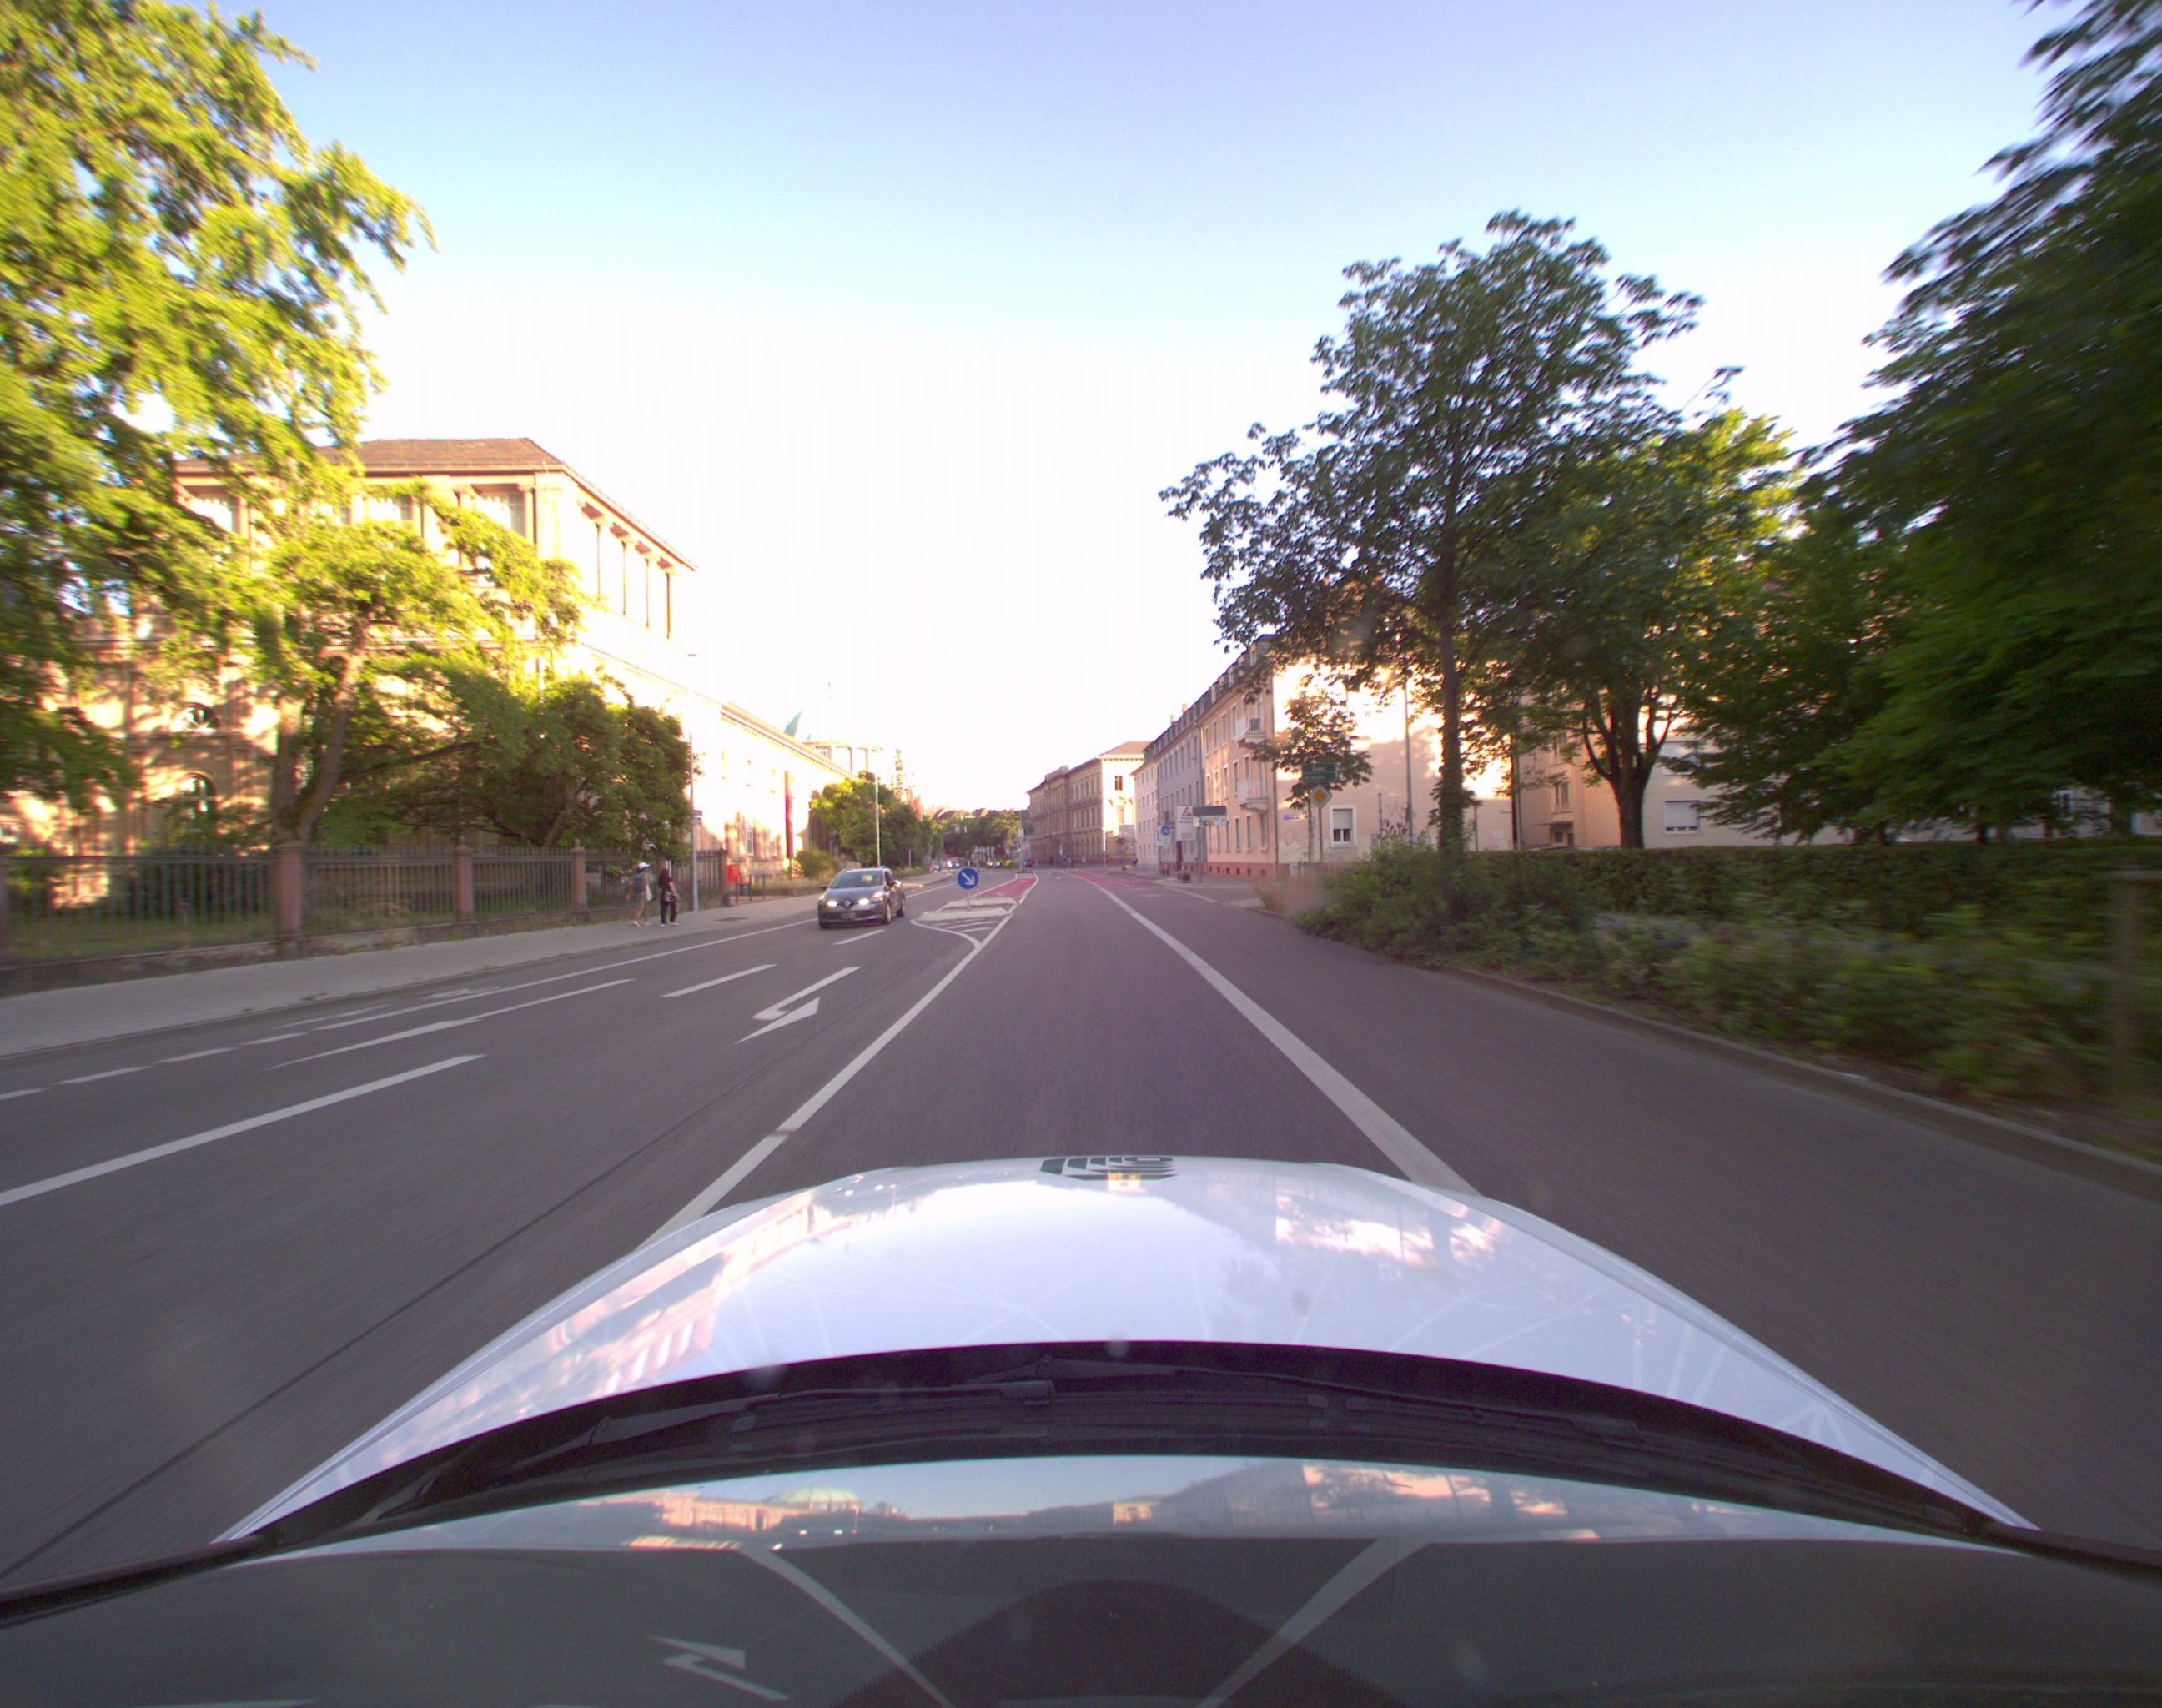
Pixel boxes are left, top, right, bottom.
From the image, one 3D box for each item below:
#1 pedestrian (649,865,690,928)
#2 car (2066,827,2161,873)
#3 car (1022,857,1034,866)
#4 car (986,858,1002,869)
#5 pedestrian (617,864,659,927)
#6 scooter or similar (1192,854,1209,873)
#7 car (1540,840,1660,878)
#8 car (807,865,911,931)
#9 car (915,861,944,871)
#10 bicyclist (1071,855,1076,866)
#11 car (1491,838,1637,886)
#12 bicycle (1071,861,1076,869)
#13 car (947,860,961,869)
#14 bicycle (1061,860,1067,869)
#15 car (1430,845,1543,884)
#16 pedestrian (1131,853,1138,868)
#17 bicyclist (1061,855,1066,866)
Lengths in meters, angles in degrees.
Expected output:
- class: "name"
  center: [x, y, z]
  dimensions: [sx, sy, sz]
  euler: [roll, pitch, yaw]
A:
- class: "pedestrian"
  center: [-11.025, 1.129, 21.820]
  dimensions: [0.677, 1.622, 0.690]
  euler: [-1, 0, 7]
- class: "car"
  center: [39.256, -0.203, 29.700]
  dimensions: [4.224, 1.481, 1.872]
  euler: [-3, 0, 2]
- class: "car"
  center: [-9.201, 1.270, 140.278]
  dimensions: [1.865, 1.510, 3.991]
  euler: [0, 0, -6]
- class: "car"
  center: [-13.691, 1.487, 128.146]
  dimensions: [1.996, 1.585, 3.981]
  euler: [-1, 0, -13]
- class: "pedestrian"
  center: [-11.799, 1.095, 21.697]
  dimensions: [0.677, 1.622, 0.690]
  euler: [-1, 0, 7]
- class: "scooter or similar"
  center: [8.688, 0.712, 59.451]
  dimensions: [0.629, 1.337, 2.395]
  euler: [-1, 0, -6]
- class: "car"
  center: [23.735, 0.228, 37.393]
  dimensions: [4.222, 1.481, 1.873]
  euler: [-3, 0, 4]
- class: "car"
  center: [-5.725, 1.074, 21.490]
  dimensions: [1.832, 1.439, 3.994]
  euler: [-3, 0, -4]
- class: "car"
  center: [-23.520, 1.817, 126.313]
  dimensions: [3.949, 1.420, 2.012]
  euler: [-1, 0, 30]
- class: "bicyclist"
  center: [-0.997, 0.828, 105.865]
  dimensions: [0.650, 1.475, 0.940]
  euler: [1, 0, -2]
- class: "car"
  center: [17.752, 0.290, 30.108]
  dimensions: [4.224, 1.481, 1.872]
  euler: [-3, 0, 2]
- class: "bicycle"
  center: [-1.001, 1.389, 105.857]
  dimensions: [0.650, 1.015, 2.196]
  euler: [1, 0, -2]
- class: "car"
  center: [-24.140, 2.040, 154.860]
  dimensions: [2.000, 1.585, 3.974]
  euler: [-1, 0, -19]
- class: "bicycle"
  center: [-2.243, 1.355, 105.844]
  dimensions: [0.650, 1.015, 2.195]
  euler: [1, 0, -3]
- class: "car"
  center: [18.563, 0.467, 37.453]
  dimensions: [4.224, 1.481, 1.872]
  euler: [-3, 0, 2]
- class: "pedestrian"
  center: [6.088, 0.736, 92.606]
  dimensions: [0.758, 1.755, 0.846]
  euler: [-1, 0, 4]
- class: "bicyclist"
  center: [-2.238, 0.885, 105.957]
  dimensions: [0.650, 1.446, 0.878]
  euler: [1, 0, -3]
